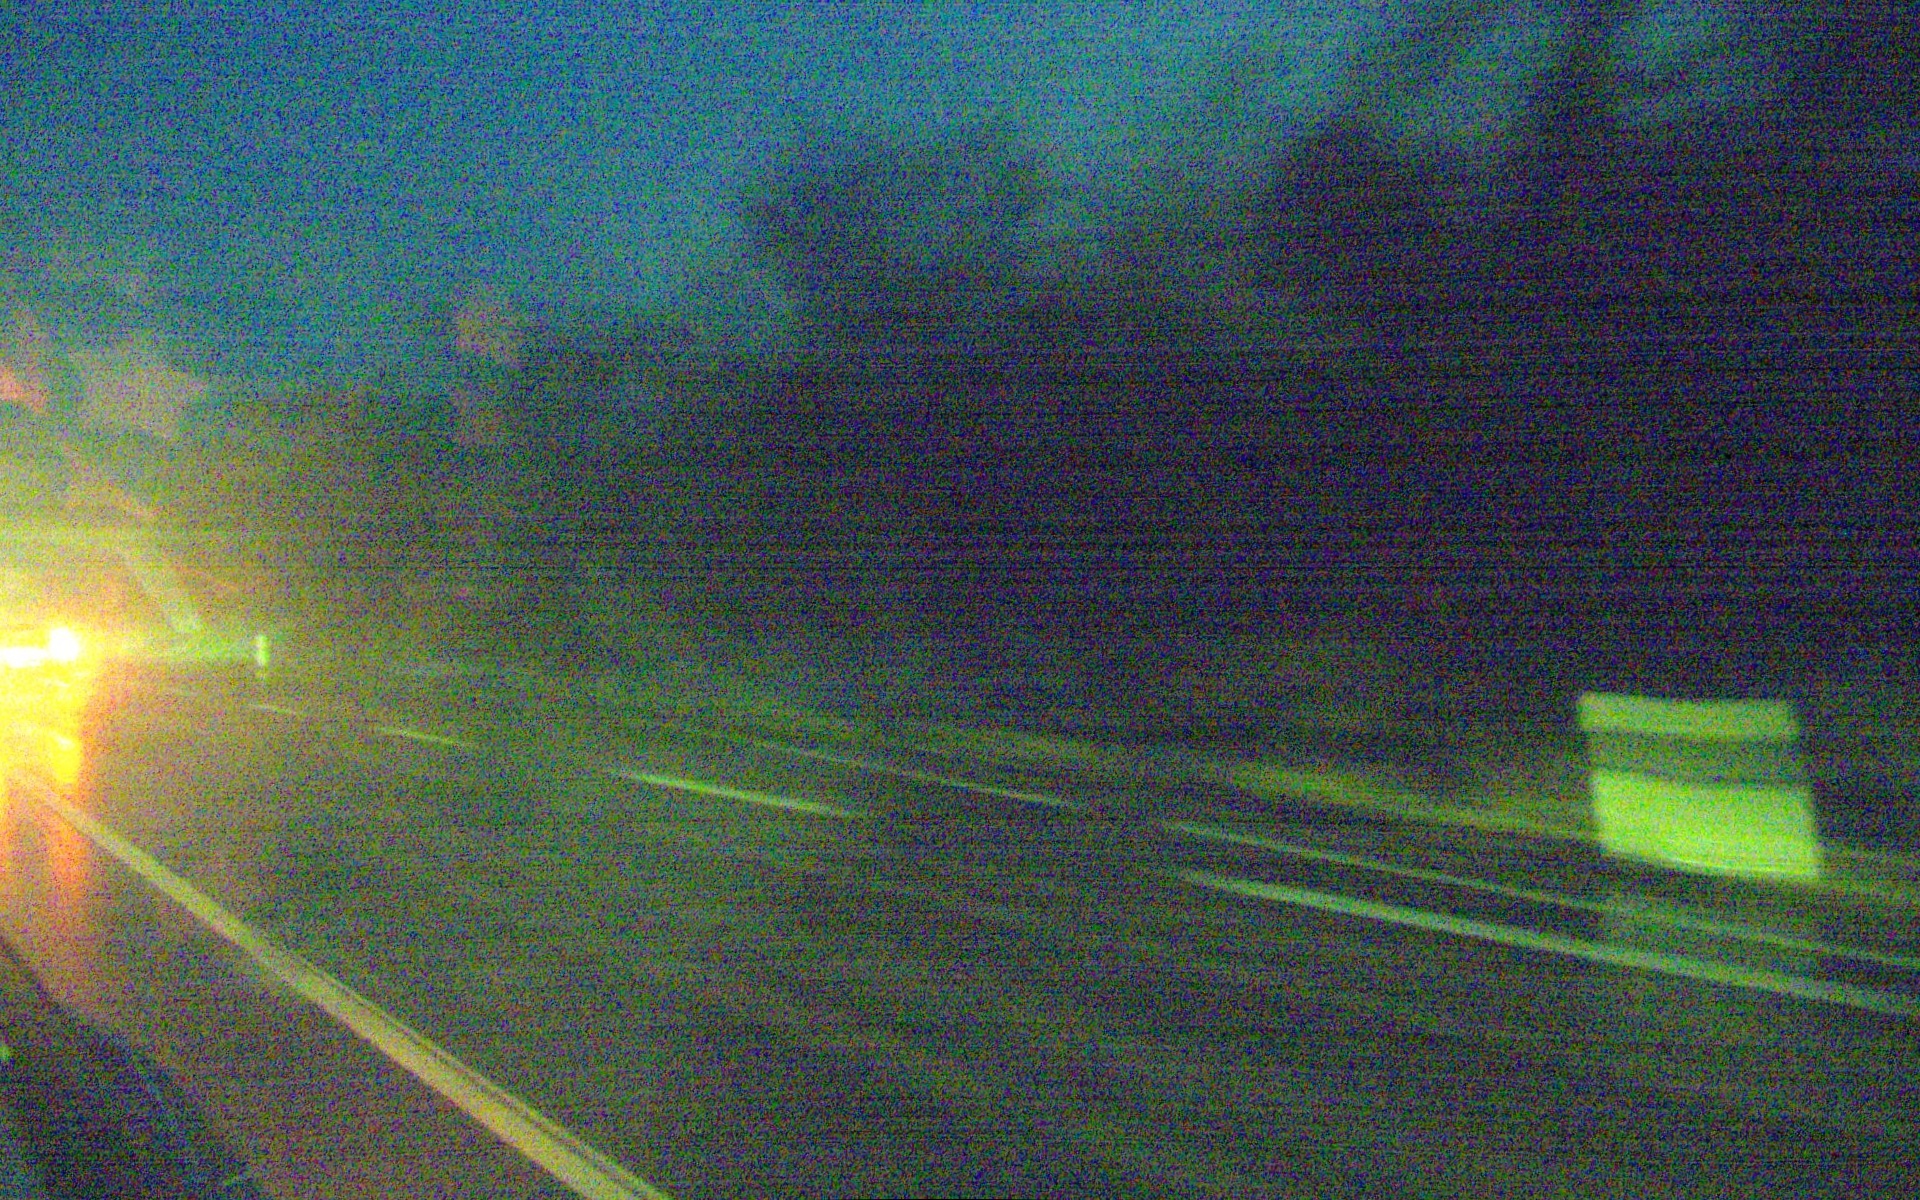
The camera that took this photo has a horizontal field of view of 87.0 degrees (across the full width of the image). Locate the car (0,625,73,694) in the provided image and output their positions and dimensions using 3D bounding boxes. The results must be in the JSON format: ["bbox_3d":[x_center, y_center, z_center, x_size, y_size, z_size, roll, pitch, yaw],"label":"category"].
[{"bbox_3d":[-21.584,1.311,22.820,3.680,1.437,1.730,-2,-1,38],"label":"car"}]
